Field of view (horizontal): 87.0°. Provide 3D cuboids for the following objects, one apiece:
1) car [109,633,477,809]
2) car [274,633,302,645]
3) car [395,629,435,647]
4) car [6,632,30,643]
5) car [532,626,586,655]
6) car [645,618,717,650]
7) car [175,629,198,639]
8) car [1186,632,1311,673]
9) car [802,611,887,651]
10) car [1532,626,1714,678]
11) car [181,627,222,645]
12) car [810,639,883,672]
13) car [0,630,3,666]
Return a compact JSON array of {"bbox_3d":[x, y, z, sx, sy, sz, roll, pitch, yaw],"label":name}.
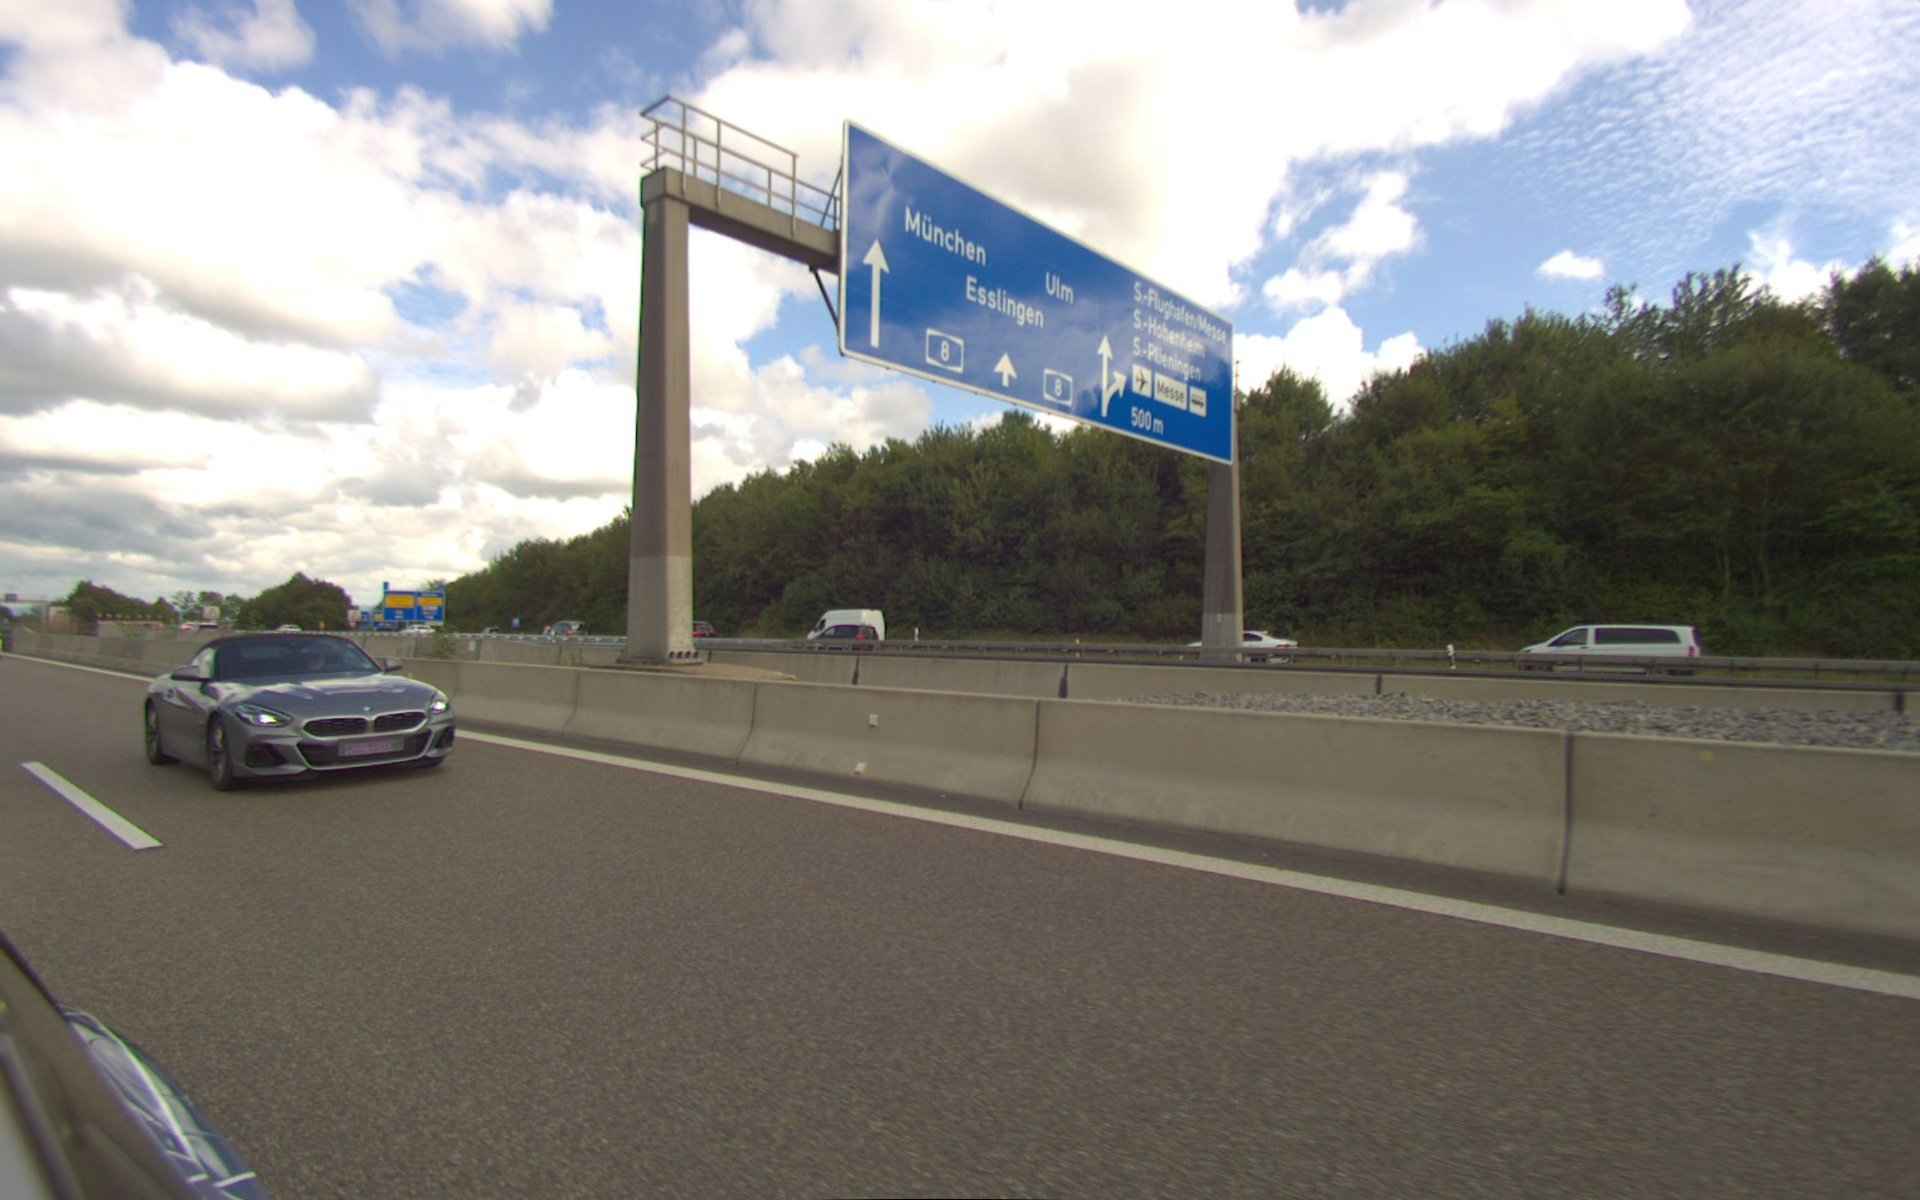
[{"bbox_3d":[-6.873,1.010,10.183,4.940,1.312,1.854,-1,-1,41],"label":"car"},{"bbox_3d":[-79.161,4.557,119.201,4.245,1.325,1.625,-1,-2,41],"label":"car"},{"bbox_3d":[-45.936,3.195,85.258,4.368,1.529,1.658,-2,-2,43],"label":"car"},{"bbox_3d":[-114.568,4.568,123.092,4.245,1.325,1.625,-1,-4,41],"label":"car"},{"bbox_3d":[-29.904,2.971,75.347,4.342,2.029,1.973,-1,-1,41],"label":"car"},{"bbox_3d":[-16.024,1.948,58.027,4.424,1.742,1.832,-1,-2,41],"label":"car"},{"bbox_3d":[-103.750,4.600,135.766,4.245,1.325,1.625,-1,-2,41],"label":"car"},{"bbox_3d":[10.979,1.976,38.737,4.321,1.455,1.640,-1,-2,41],"label":"car"},{"bbox_3d":[-7.058,1.908,61.583,5.685,2.333,1.971,-2,-3,44],"label":"car"},{"bbox_3d":[22.295,1.698,34.168,4.944,1.646,1.717,-1,-2,41],"label":"car"},{"bbox_3d":[-57.678,2.733,76.982,4.245,1.325,1.625,-1,-2,41],"label":"car"},{"bbox_3d":[-6.140,2.952,54.606,3.997,1.660,1.640,-1,-2,41],"label":"car"},{"bbox_3d":[-38.125,1.806,38.691,4.245,1.325,1.788,-1,-3,41],"label":"car"}]
